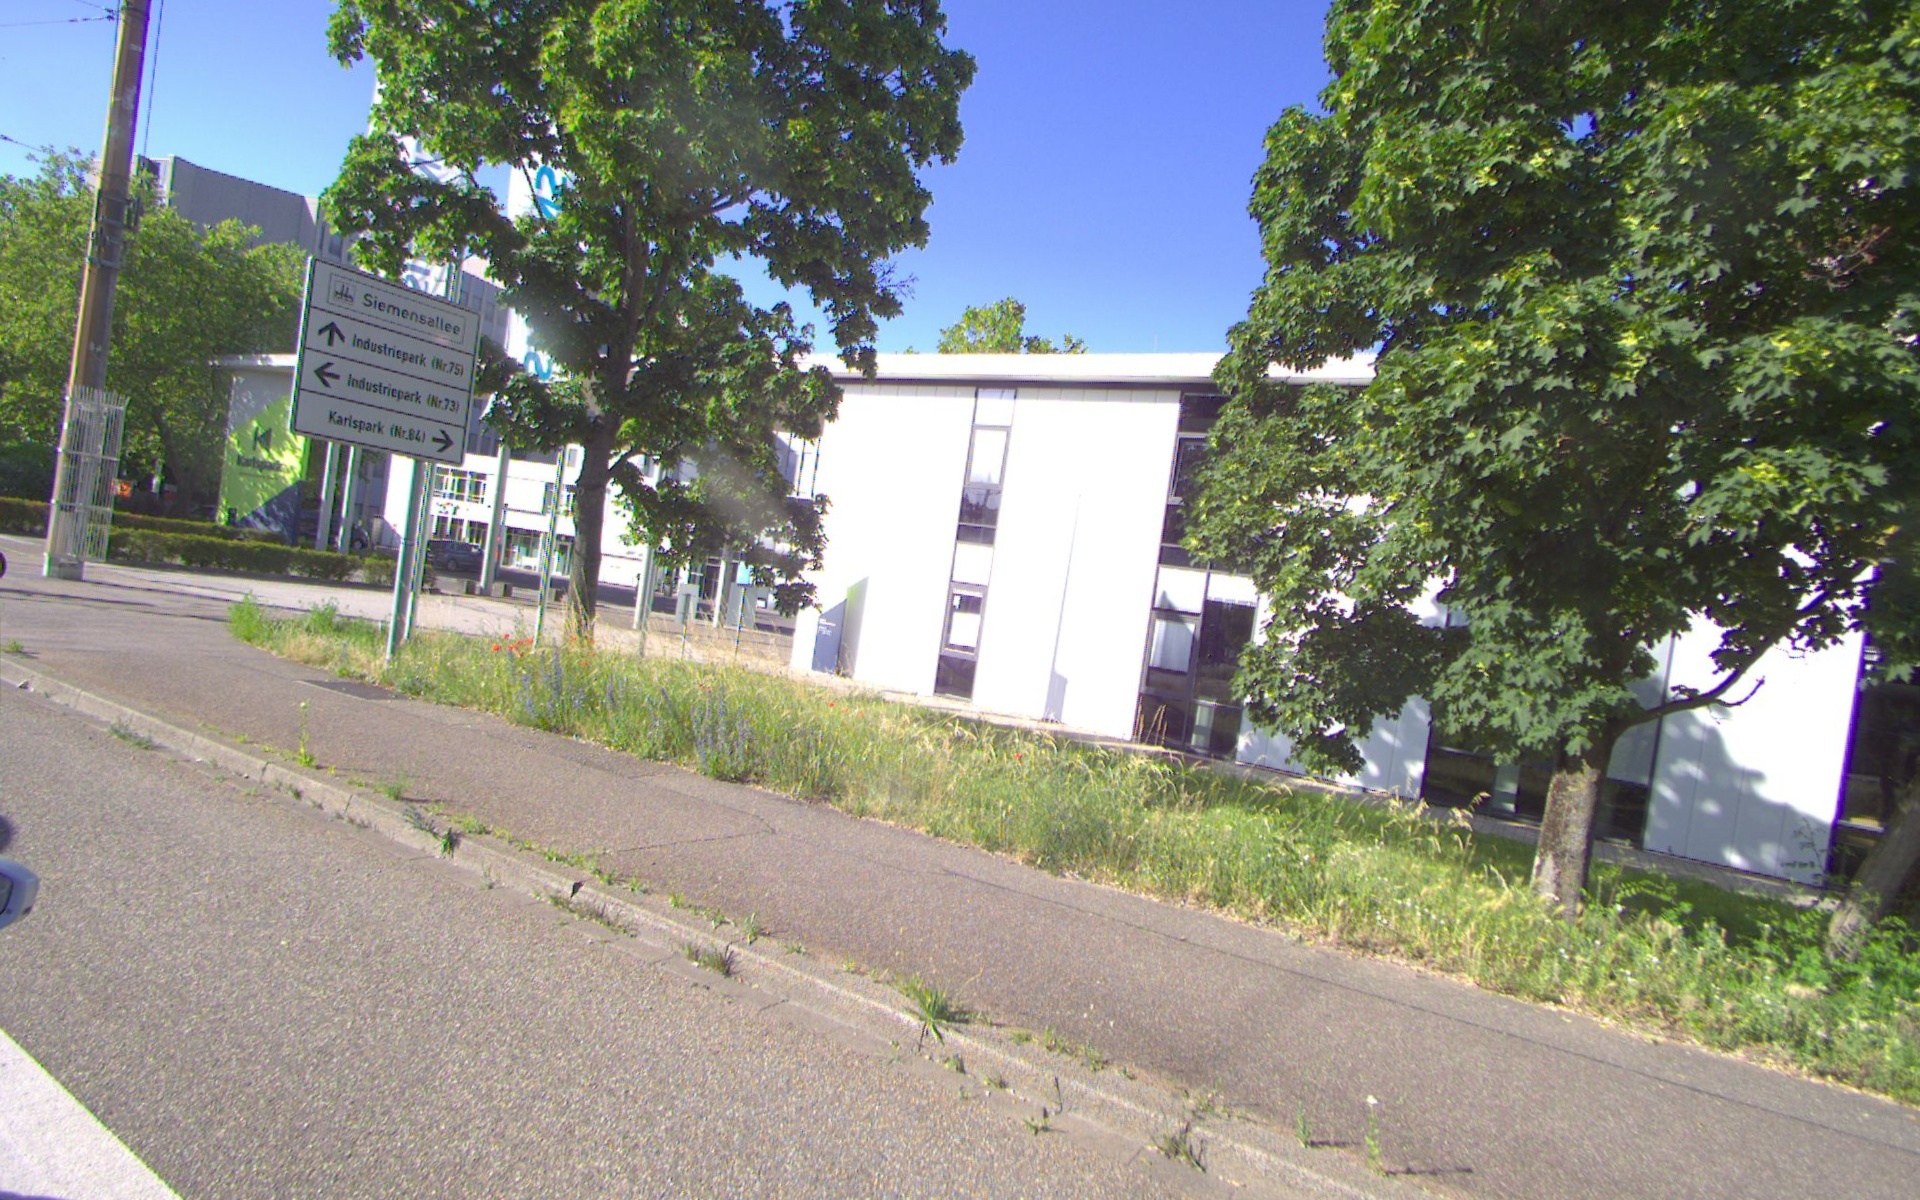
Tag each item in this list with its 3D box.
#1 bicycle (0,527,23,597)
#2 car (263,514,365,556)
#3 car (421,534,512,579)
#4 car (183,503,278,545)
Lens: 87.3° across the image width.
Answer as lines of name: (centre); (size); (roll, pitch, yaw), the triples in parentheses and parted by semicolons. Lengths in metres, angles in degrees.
bicycle: (-15.191, -0.698, 14.804); (0.754, 1.009, 1.918); (7, -2, 42)
car: (-36.217, -3.633, 56.559); (1.841, 1.649, 4.553); (7, -1, 19)
car: (-26.291, -2.283, 53.715); (1.865, 1.741, 4.001); (8, -1, 22)
car: (-42.741, -4.431, 59.043); (1.963, 1.778, 4.002); (7, -1, 19)
